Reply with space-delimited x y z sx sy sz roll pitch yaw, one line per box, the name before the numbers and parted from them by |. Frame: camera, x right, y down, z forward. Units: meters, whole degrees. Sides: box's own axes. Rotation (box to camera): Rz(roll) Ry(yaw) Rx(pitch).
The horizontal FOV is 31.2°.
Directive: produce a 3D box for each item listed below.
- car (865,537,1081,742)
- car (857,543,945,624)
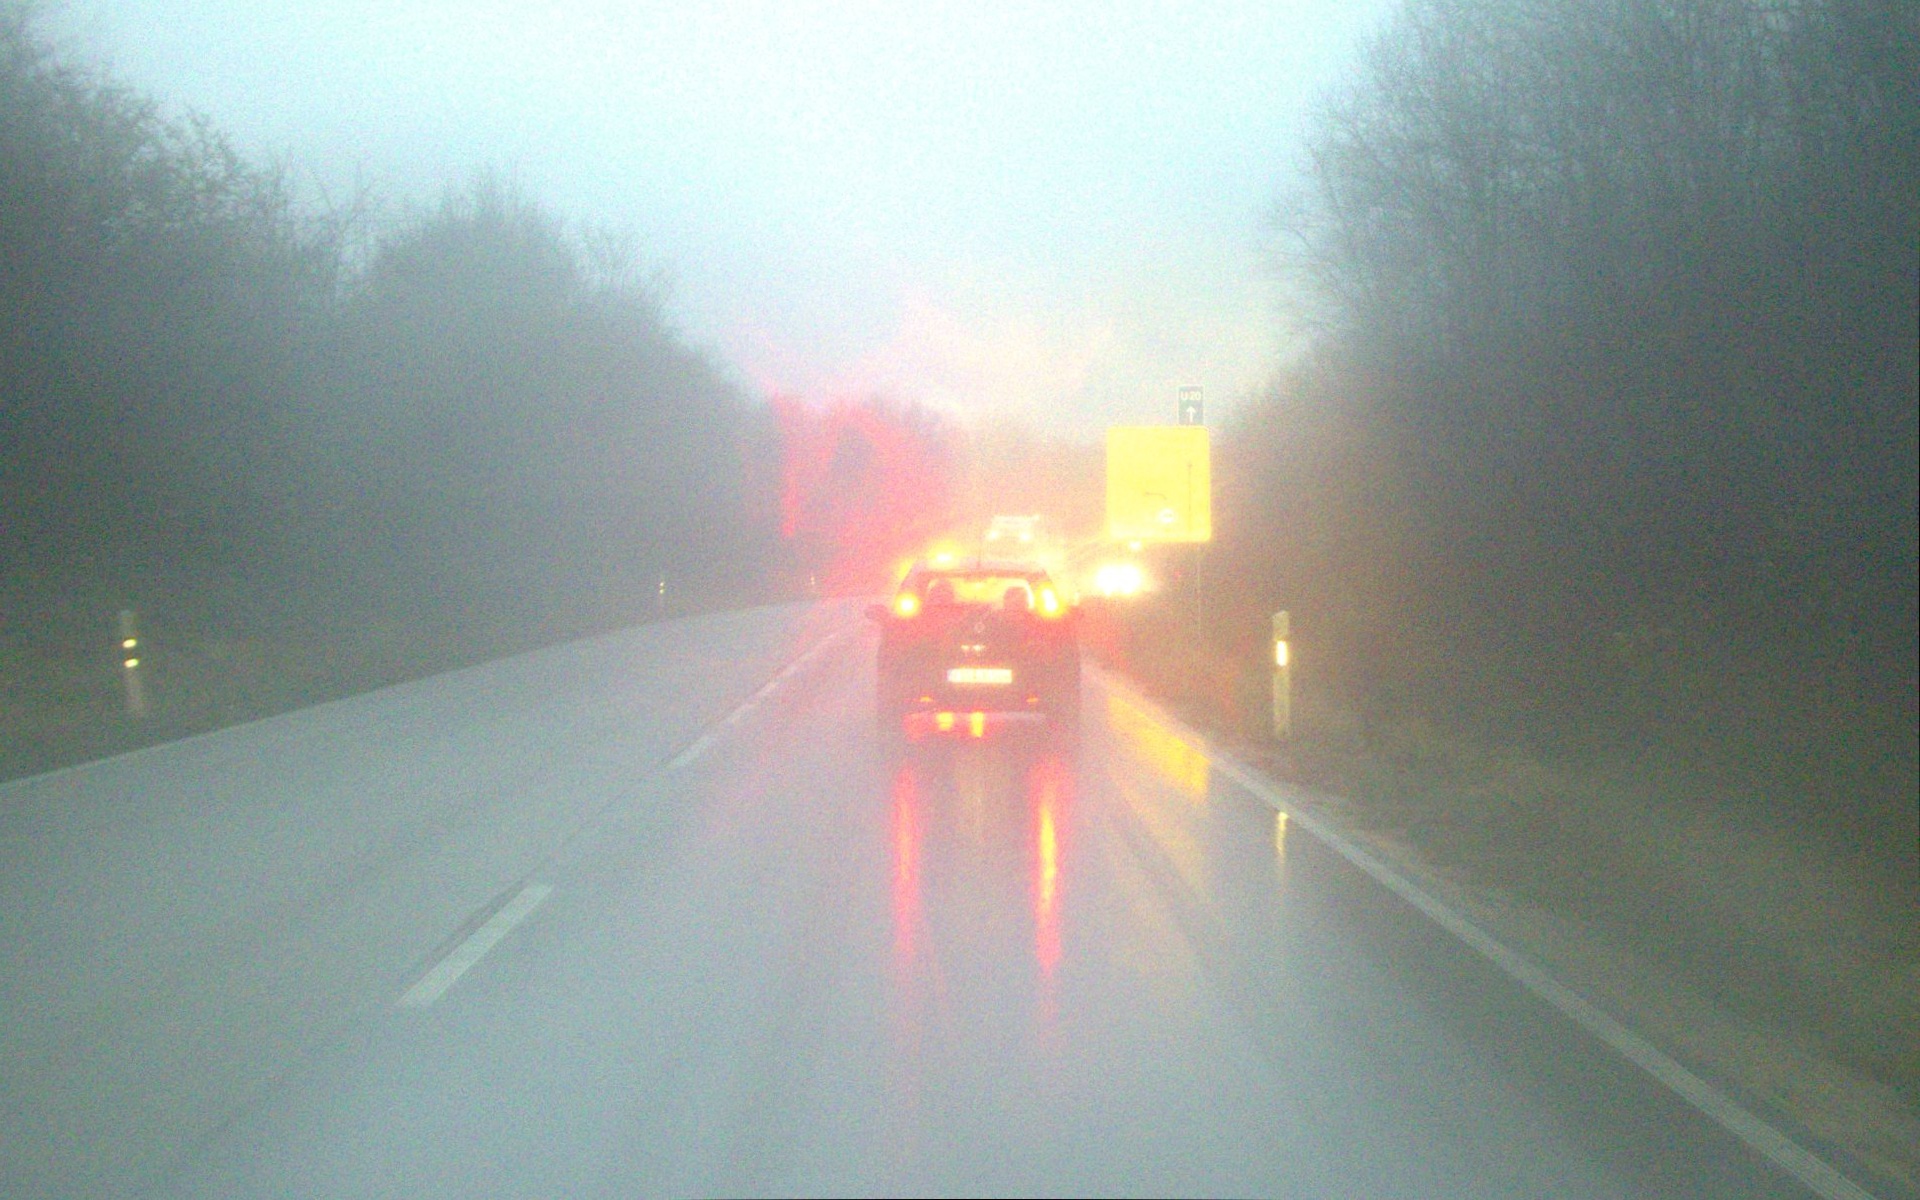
car | 0.119 0.284 29.527 1.728 1.638 4.000 0 1 0
car | -1.203 -0.367 71.697 1.728 1.638 4.000 0 1 0
